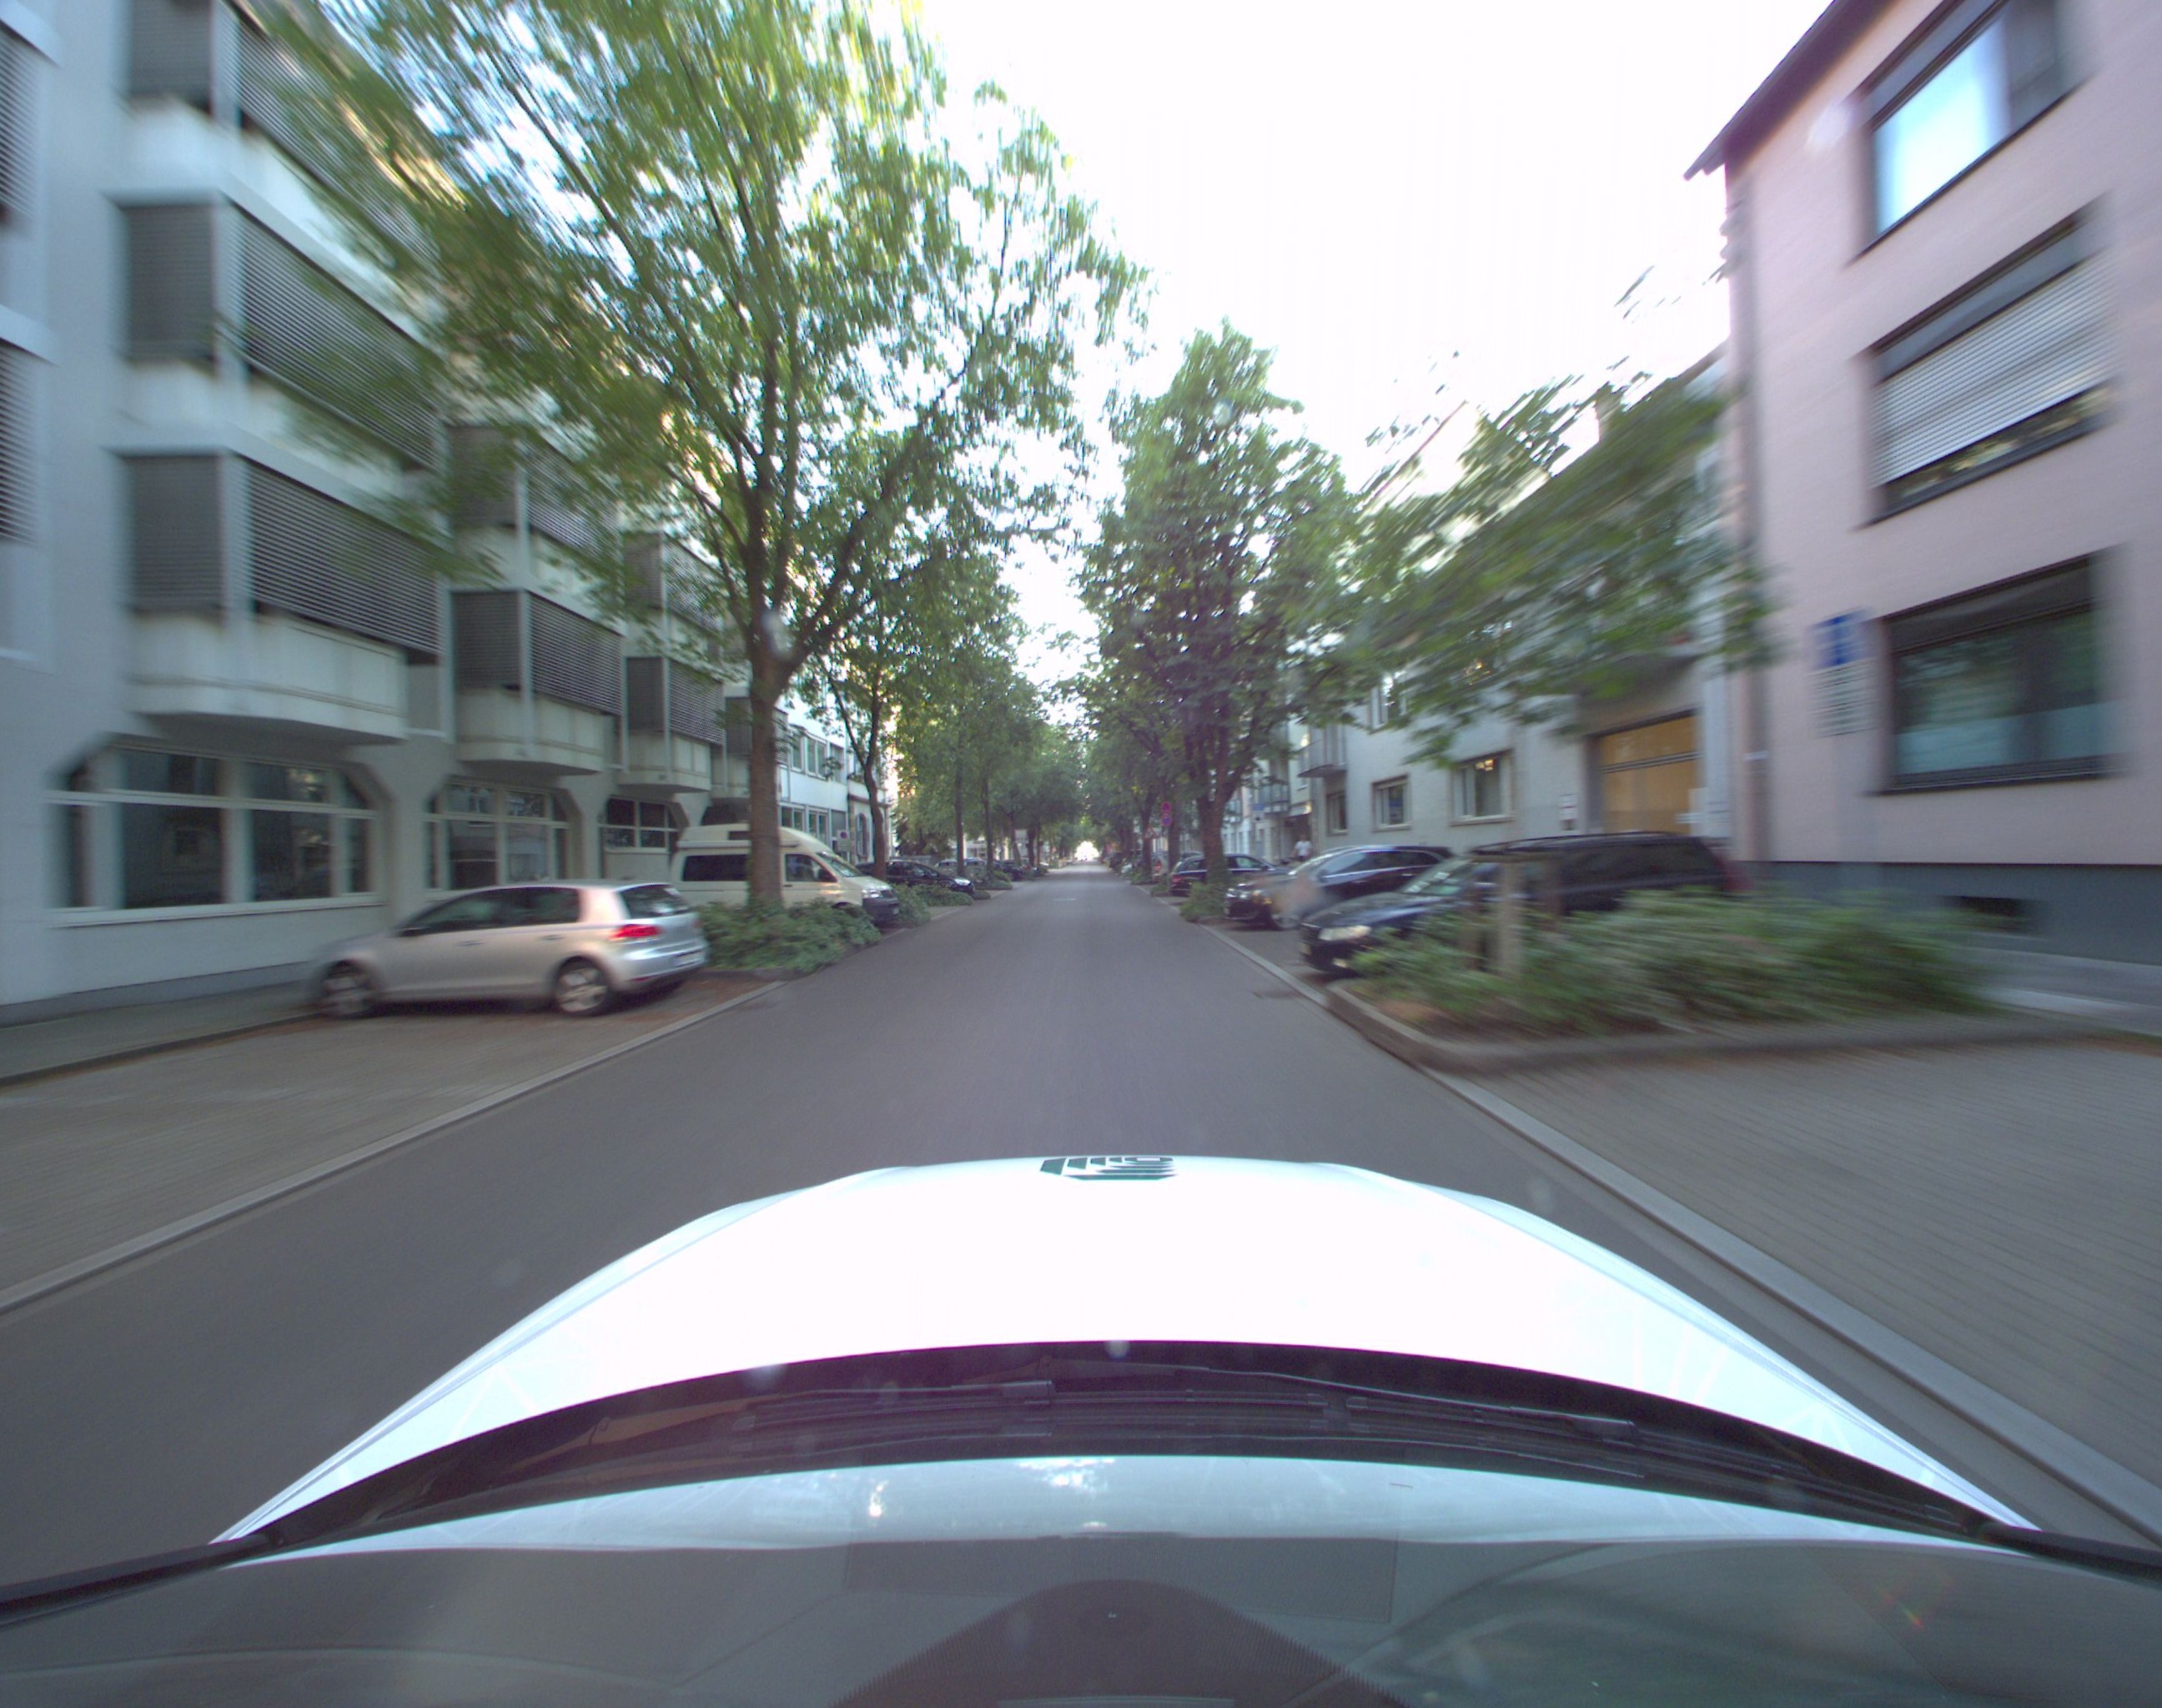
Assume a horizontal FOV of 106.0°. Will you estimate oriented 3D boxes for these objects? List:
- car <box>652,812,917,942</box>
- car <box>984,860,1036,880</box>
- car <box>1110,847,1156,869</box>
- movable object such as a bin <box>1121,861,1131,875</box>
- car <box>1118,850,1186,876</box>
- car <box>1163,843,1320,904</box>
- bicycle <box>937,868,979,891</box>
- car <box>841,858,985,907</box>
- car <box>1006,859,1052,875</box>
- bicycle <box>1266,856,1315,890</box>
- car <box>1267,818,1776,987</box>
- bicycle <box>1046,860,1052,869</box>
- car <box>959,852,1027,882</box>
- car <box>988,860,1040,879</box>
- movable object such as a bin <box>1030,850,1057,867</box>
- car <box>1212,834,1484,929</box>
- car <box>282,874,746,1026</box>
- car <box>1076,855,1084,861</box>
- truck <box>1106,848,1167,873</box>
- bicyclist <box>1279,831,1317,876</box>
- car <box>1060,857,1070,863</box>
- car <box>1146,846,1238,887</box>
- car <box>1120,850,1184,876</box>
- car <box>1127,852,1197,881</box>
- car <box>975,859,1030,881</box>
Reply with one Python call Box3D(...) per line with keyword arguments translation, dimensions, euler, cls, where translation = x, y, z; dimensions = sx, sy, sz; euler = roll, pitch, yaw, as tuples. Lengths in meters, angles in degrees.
Box3D(translation=(-6.382, 0.476, 18.024), dimensions=(4.987, 2.573, 2.121), euler=(-2, 0, 0), cls="car")
Box3D(translation=(-5.899, 1.313, 67.666), dimensions=(3.967, 1.565, 1.932), euler=(-2, 0, 5), cls="car")
Box3D(translation=(5.320, 0.427, 84.137), dimensions=(4.587, 2.066, 2.196), euler=(-2, 0, -1), cls="car")
Box3D(translation=(3.809, 1.185, 69.209), dimensions=(0.758, 1.084, 0.785), euler=(-4, 0, 1), cls="movable object such as a bin")
Box3D(translation=(4.994, 0.657, 58.030), dimensions=(4.586, 1.468, 1.795), euler=(-5, 0, -1), cls="car")
Box3D(translation=(4.788, 0.587, 24.906), dimensions=(4.438, 1.427, 2.014), euler=(-5, -1, 4), cls="car")
Box3D(translation=(-4.920, 1.021, 32.565), dimensions=(1.546, 0.830, 0.614), euler=(-2, -1, 3), cls="bicycle")
Box3D(translation=(-6.182, 1.020, 30.435), dimensions=(4.836, 1.621, 2.160), euler=(-2, 0, 1), cls="car")
Box3D(translation=(-5.494, 1.359, 86.171), dimensions=(4.600, 1.552, 2.077), euler=(-1, 0, 2), cls="car")
Box3D(translation=(7.570, 0.671, 29.634), dimensions=(0.619, 1.164, 3.395), euler=(-2, 0, -5), cls="bicycle")
Box3D(translation=(4.841, 0.519, 9.592), dimensions=(4.821, 1.448, 2.043), euler=(-4, 0, 2), cls="car")
Box3D(translation=(-4.288, 1.462, 109.498), dimensions=(0.682, 1.152, 1.977), euler=(-2, 0, -5), cls="bicycle")
Box3D(translation=(-6.159, 0.910, 57.355), dimensions=(4.492, 1.955, 1.999), euler=(-2, -1, -2), cls="car")
Box3D(translation=(-5.782, 1.343, 70.293), dimensions=(4.273, 1.430, 1.879), euler=(-2, 0, 0), cls="car")
Box3D(translation=(-5.754, 0.672, 124.033), dimensions=(4.040, 2.383, 2.779), euler=(-2, 0, -6), cls="movable object such as a bin")
Box3D(translation=(5.077, 0.513, 16.031), dimensions=(4.661, 1.388, 2.001), euler=(-5, 0, 1), cls="car")
Box3D(translation=(-6.541, 1.067, 9.783), dimensions=(4.153, 1.468, 1.953), euler=(-2, 0, 1), cls="car")
Box3D(translation=(-0.216, 1.119, 225.686), dimensions=(2.004, 1.613, 4.118), euler=(-1, 0, -1), cls="car")
Box3D(translation=(5.513, 0.647, 81.392), dimensions=(5.867, 2.311, 2.213), euler=(-2, -1, 0), cls="truck")
Box3D(translation=(7.951, -0.010, 29.855), dimensions=(0.969, 1.604, 1.133), euler=(-2, -1, -7), cls="bicyclist")
Box3D(translation=(-3.296, 1.229, 168.926), dimensions=(1.989, 1.288, 3.994), euler=(-2, 0, -4), cls="car")
Box3D(translation=(5.135, 0.567, 38.106), dimensions=(3.957, 1.585, 1.916), euler=(-5, 0, -1), cls="car")
Box3D(translation=(5.495, 0.700, 63.352), dimensions=(4.633, 1.617, 2.007), euler=(-5, 0, -4), cls="car")
Box3D(translation=(5.137, 0.780, 52.154), dimensions=(4.077, 1.451, 1.931), euler=(-5, 0, -5), cls="car")
Box3D(translation=(-6.004, 1.218, 62.619), dimensions=(3.976, 1.464, 1.921), euler=(-2, 0, -2), cls="car")
